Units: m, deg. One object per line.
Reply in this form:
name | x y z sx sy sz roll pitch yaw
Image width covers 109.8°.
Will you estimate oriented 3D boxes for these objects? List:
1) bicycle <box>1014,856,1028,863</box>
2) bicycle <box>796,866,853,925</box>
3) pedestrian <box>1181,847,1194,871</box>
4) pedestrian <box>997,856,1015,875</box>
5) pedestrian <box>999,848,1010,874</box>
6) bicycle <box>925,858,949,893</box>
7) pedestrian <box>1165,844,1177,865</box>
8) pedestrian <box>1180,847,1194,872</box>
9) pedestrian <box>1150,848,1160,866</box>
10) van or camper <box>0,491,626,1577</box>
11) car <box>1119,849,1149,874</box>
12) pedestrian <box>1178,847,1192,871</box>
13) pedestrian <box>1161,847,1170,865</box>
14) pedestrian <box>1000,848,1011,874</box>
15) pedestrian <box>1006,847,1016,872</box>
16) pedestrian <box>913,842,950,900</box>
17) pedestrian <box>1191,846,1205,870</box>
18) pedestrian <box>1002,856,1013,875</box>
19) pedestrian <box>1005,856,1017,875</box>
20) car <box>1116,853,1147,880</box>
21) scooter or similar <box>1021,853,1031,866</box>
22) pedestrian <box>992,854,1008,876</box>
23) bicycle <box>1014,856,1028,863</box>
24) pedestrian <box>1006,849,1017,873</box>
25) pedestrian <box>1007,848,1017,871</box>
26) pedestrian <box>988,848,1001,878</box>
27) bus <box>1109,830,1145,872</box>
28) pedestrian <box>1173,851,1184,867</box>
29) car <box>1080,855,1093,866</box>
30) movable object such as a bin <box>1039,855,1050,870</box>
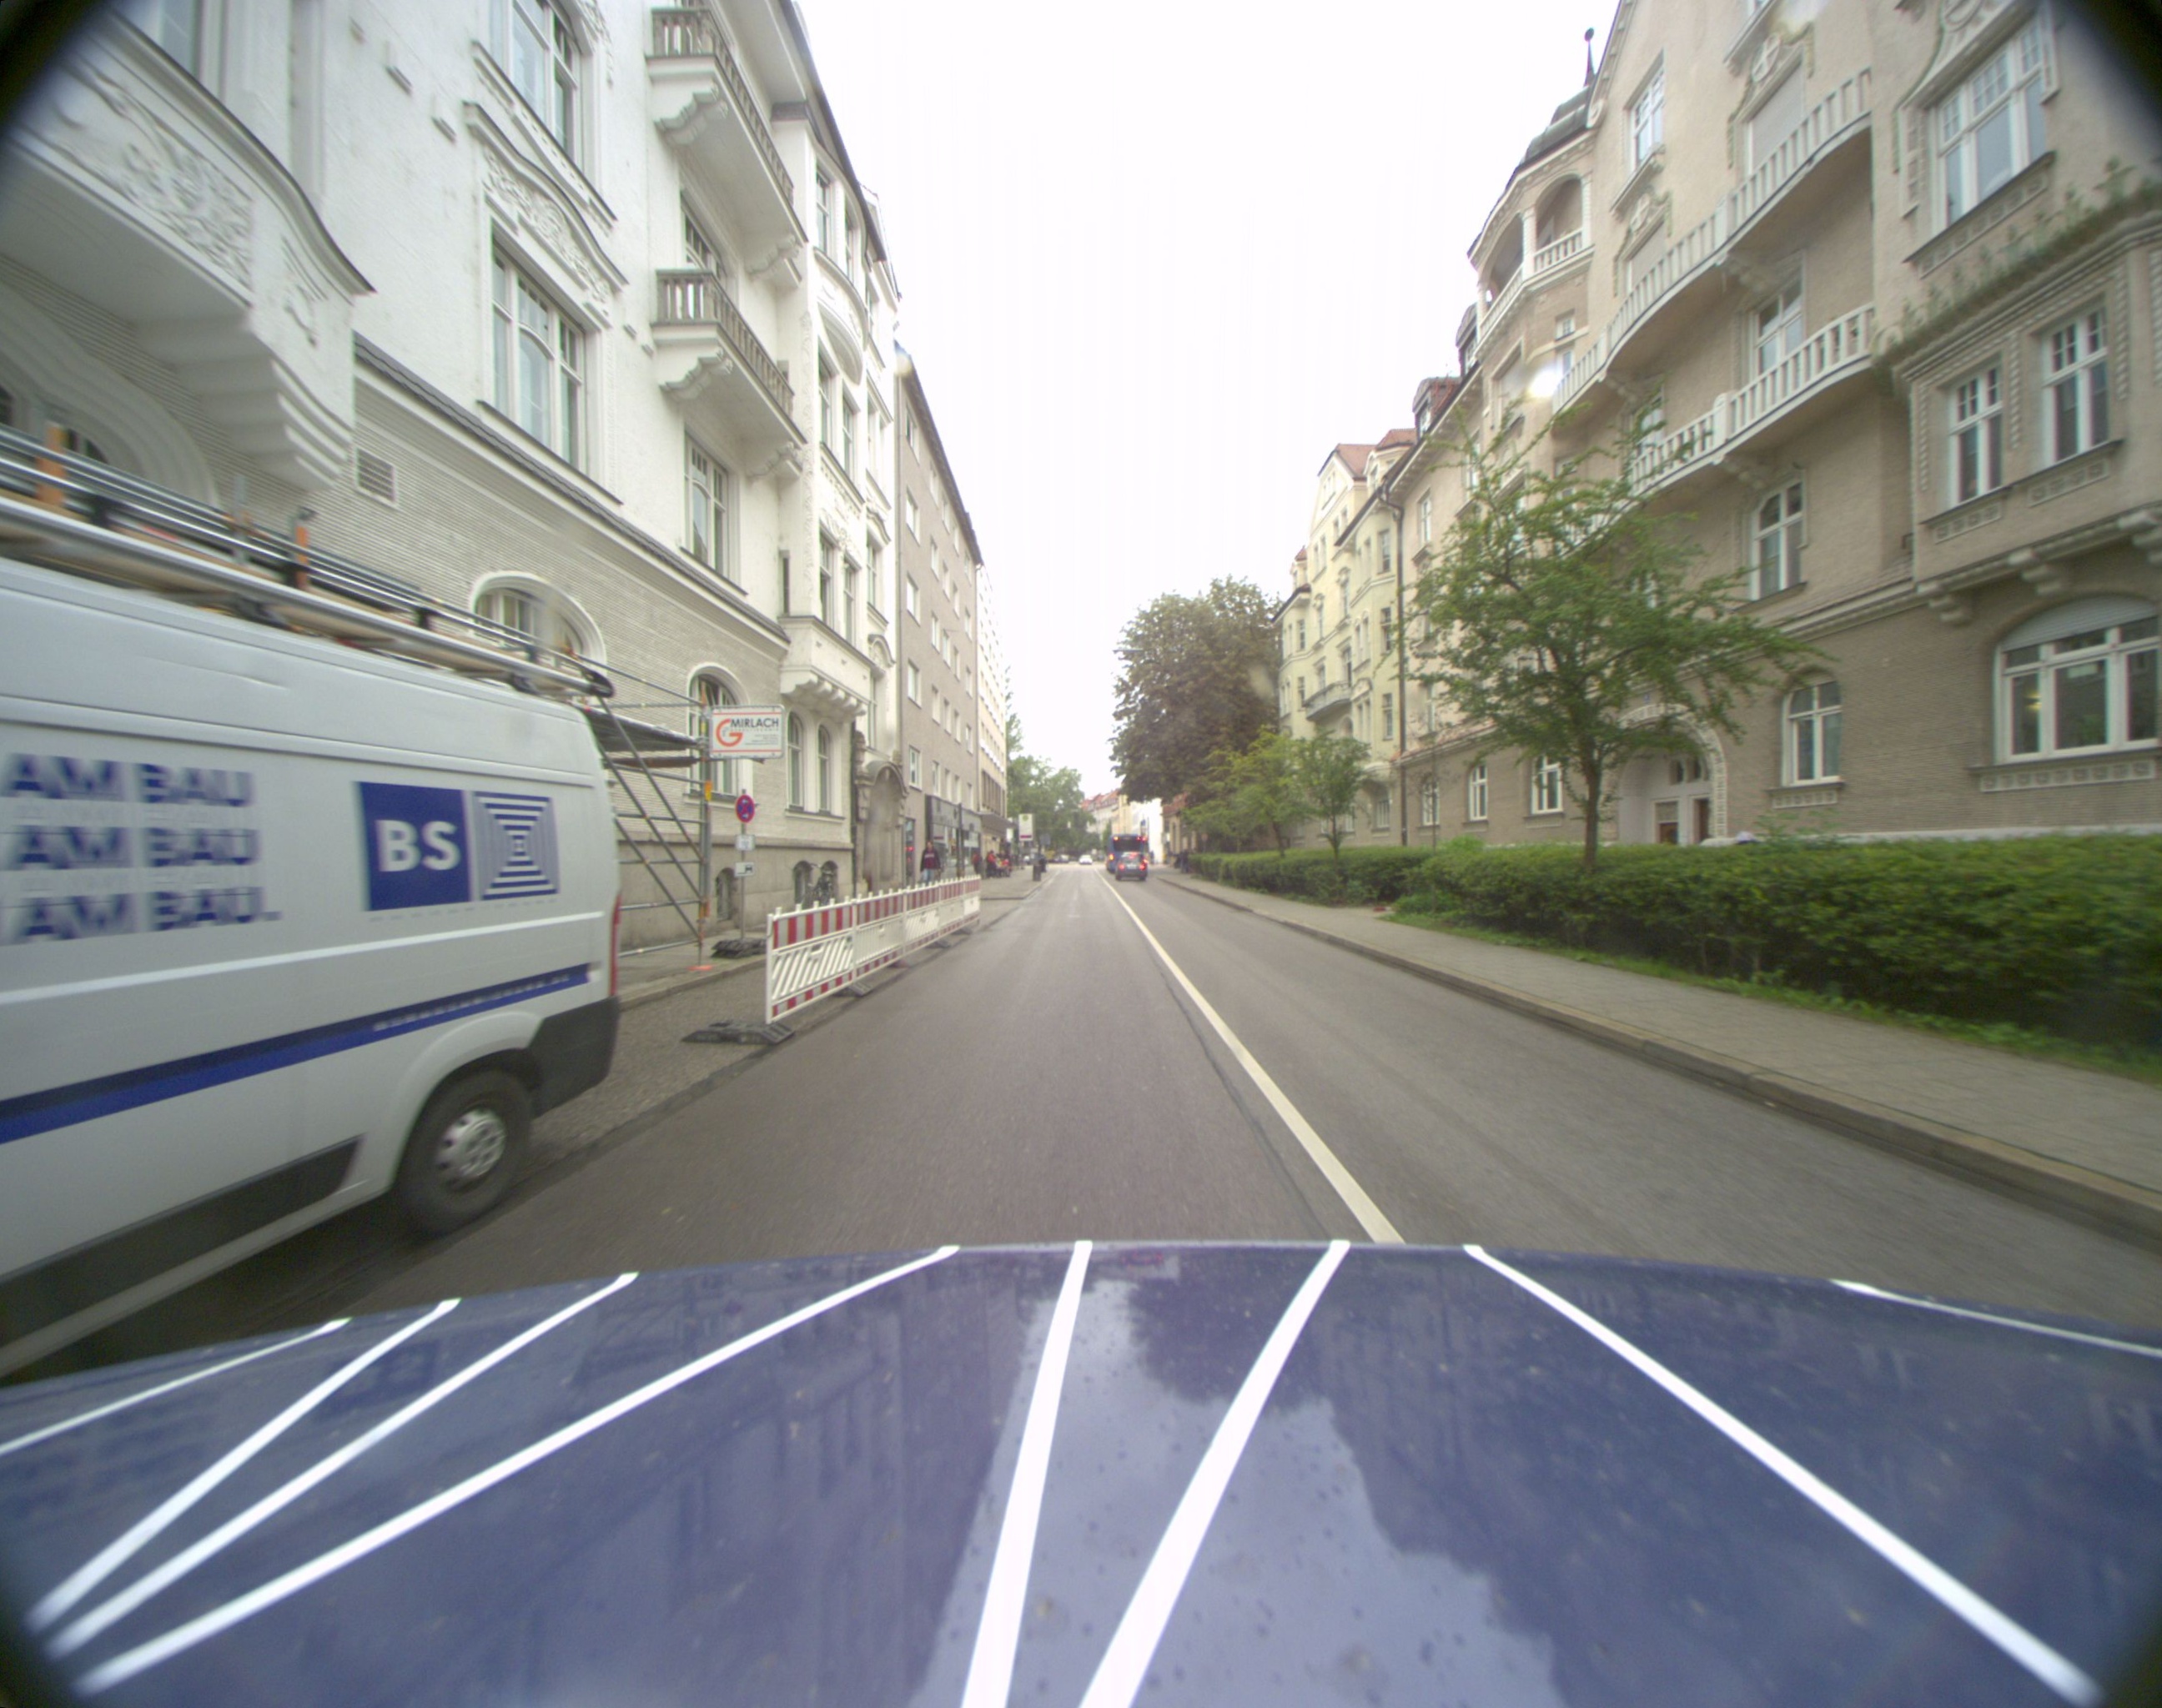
bicycle | -9.601 0.806 121.077 2.124 1.110 0.629 0 1 -10
bicycle | -5.766 0.902 17.169 0.662 1.199 1.921 3 0 -3
pedestrian | 7.721 0.370 55.090 0.875 1.735 0.786 0 1 0
pedestrian | -4.753 0.724 48.317 1.099 1.230 0.668 0 1 1
pedestrian | -5.061 0.480 50.432 0.659 1.723 0.684 0 1 1
bicycle | -5.523 0.816 29.203 0.513 1.253 1.820 3 0 0
pedestrian | 8.564 0.058 72.400 0.832 2.002 0.778 -2 1 -42
pedestrian | 7.549 0.396 54.232 0.910 1.735 0.847 0 1 0
pedestrian | 8.391 0.294 86.401 0.952 2.002 1.397 0 1 11
van or camper | -3.596 0.440 1.523 1.958 2.621 5.458 0 1 1
car | 3.518 0.489 51.428 1.772 1.635 4.273 0 0 0
pedestrian | 7.653 0.370 55.980 0.875 1.735 0.910 0 1 0
pedestrian | 9.619 0.256 86.565 0.952 2.002 1.397 0 1 11
pedestrian | -5.179 0.483 51.828 0.659 1.723 0.778 0 1 1
pedestrian | -5.258 0.410 56.820 0.659 1.812 0.696 0 1 1
pedestrian | -5.038 0.553 25.686 0.929 1.899 1.179 2 1 0
pedestrian | 8.640 0.314 56.104 0.784 1.735 0.877 0 1 32
pedestrian | -4.801 0.726 49.863 0.681 1.230 0.495 0 1 1
pedestrian | -4.550 0.740 49.357 0.709 1.230 0.585 0 1 1
car | 2.948 0.706 44.510 1.588 1.471 3.782 0 0 0
scooter or similar | -5.278 0.534 72.828 0.563 1.234 1.445 0 1 11
pedestrian | -4.968 0.689 46.622 0.862 1.344 0.862 0 1 1
bicycle | -9.362 0.812 118.555 2.124 1.110 0.738 0 1 -10
pedestrian | -4.915 0.478 53.737 0.659 1.723 0.696 0 1 1
pedestrian | -5.213 0.428 57.589 0.659 1.773 0.771 0 1 1
pedestrian | -5.000 0.509 43.941 0.704 1.723 0.746 0 1 1
bus | 3.601 -0.231 61.132 2.586 3.083 8.923 0 0 1
pedestrian | 8.287 0.453 64.657 0.830 1.333 0.754 0 1 -2
car | 0.823 0.961 120.307 1.927 1.608 3.999 -1 0 0
movable object such as a bin | -3.045 0.719 62.987 0.877 1.243 0.798 0 1 -5
